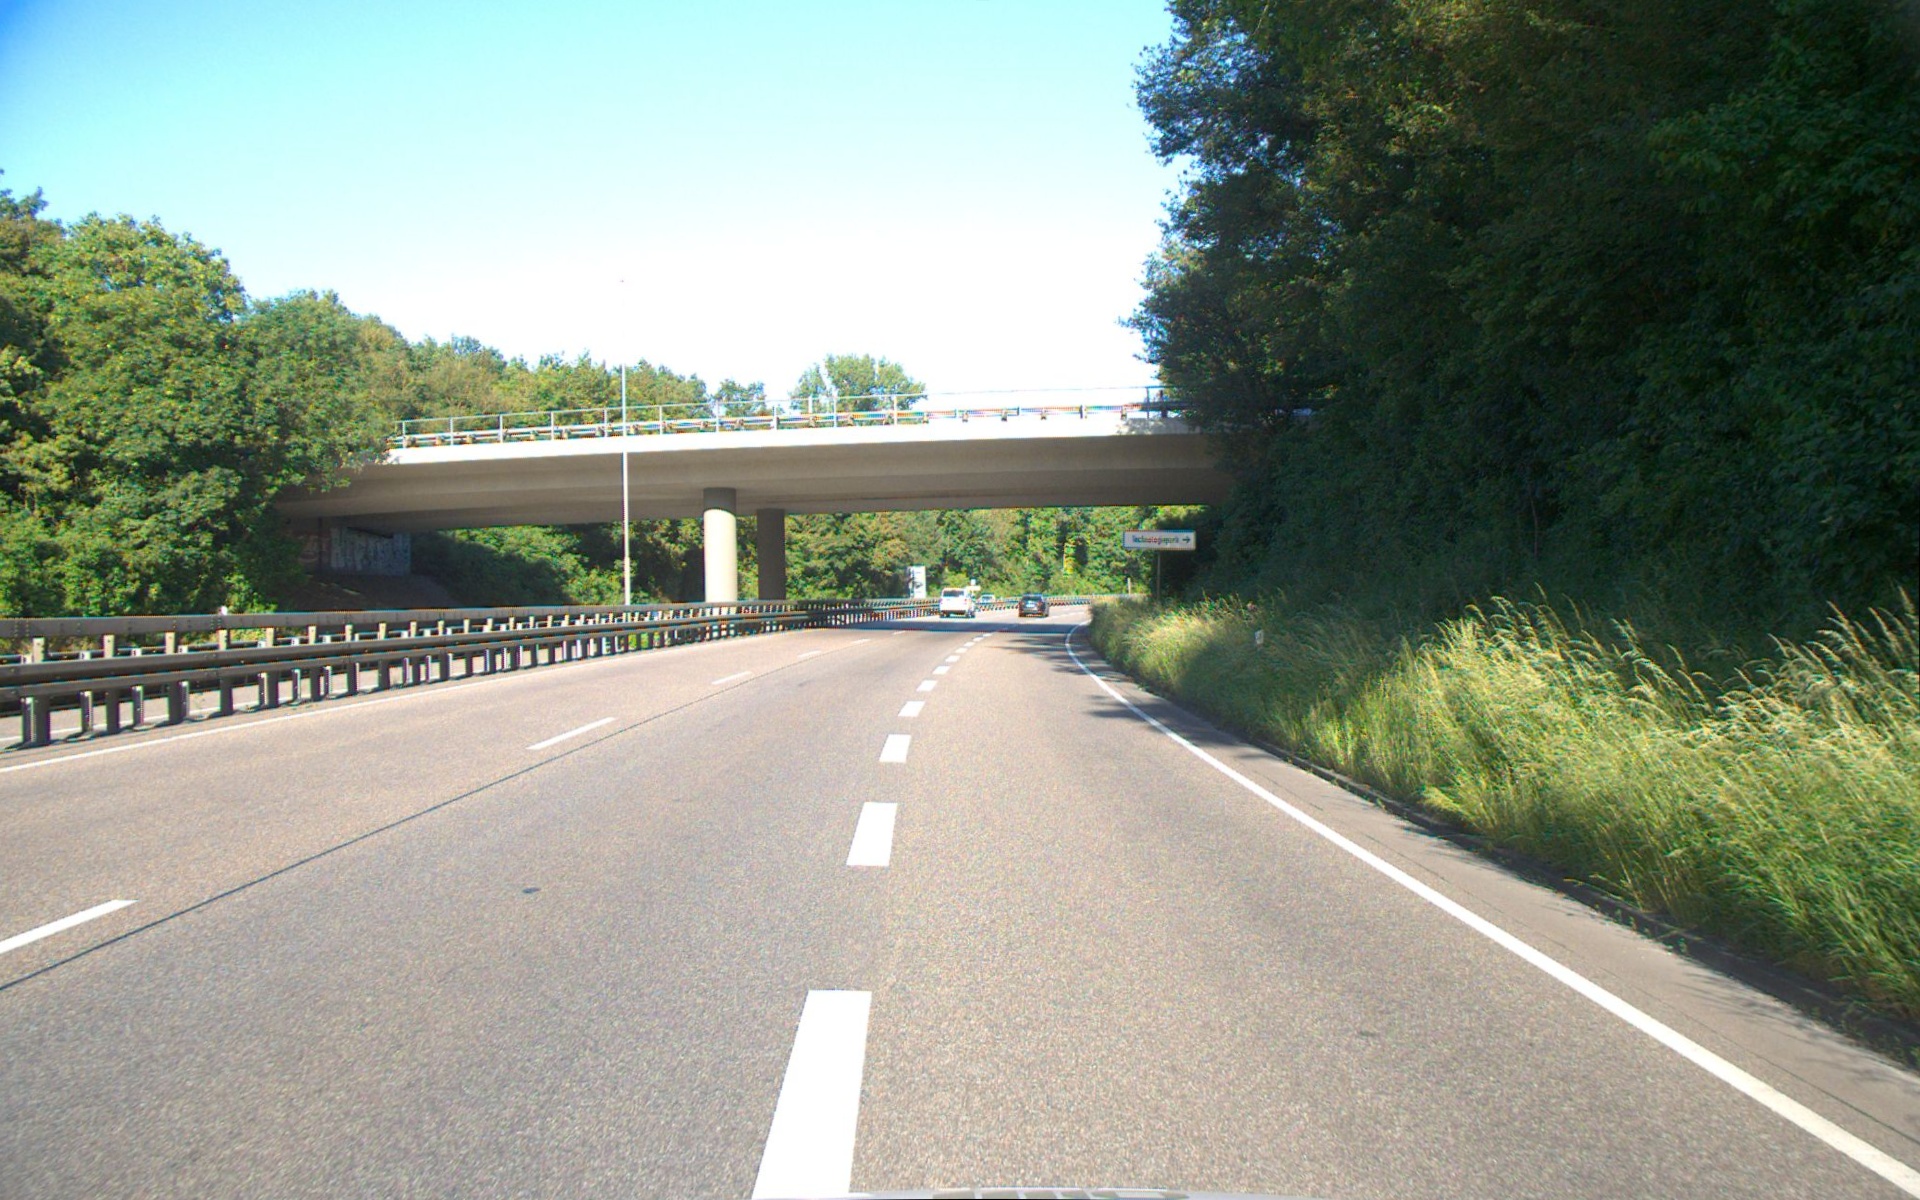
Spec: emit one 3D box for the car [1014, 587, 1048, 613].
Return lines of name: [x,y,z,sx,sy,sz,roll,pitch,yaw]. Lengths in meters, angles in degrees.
car: [4.696,-0.023,109.266,1.702,1.691,3.949,-1,0,10]

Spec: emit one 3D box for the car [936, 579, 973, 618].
car: [-0.330,-0.073,101.268,1.951,2.317,4.002,-1,0,4]
